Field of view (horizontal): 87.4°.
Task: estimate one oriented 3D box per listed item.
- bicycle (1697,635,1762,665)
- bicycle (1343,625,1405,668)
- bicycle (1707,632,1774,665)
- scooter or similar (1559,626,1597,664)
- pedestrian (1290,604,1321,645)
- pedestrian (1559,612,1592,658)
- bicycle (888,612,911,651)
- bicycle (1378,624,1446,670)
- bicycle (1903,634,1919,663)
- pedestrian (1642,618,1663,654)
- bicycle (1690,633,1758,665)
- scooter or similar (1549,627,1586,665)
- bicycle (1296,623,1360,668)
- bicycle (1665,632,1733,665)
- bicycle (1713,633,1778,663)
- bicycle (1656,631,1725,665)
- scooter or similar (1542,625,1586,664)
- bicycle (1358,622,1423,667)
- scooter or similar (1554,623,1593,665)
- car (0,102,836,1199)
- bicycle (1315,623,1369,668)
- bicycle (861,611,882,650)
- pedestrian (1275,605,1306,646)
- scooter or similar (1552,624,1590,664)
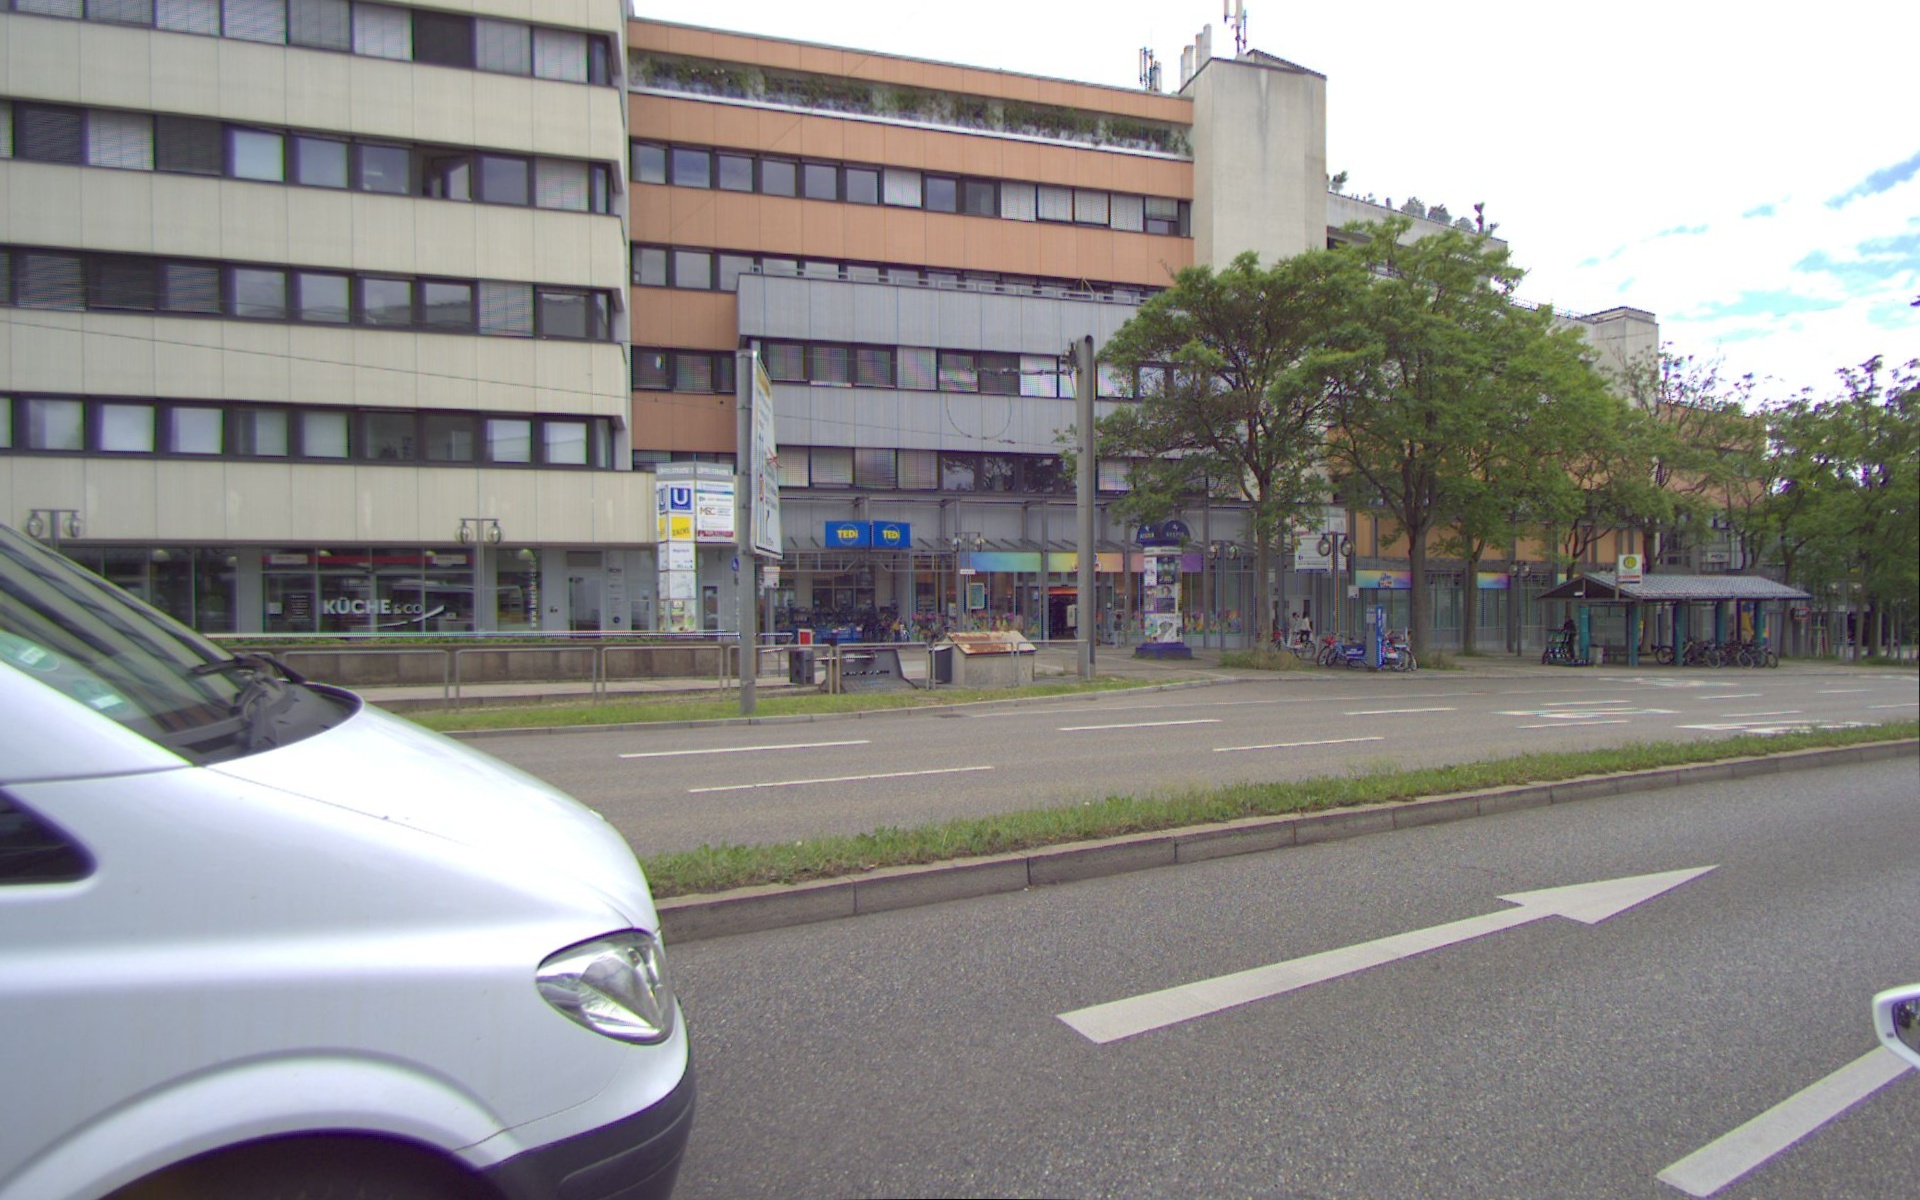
[{"bbox_3d":[31.832,2.060,41.578,0.705,1.169,2.049,1,-1,-38],"label":"bicycle"},{"bbox_3d":[12.636,1.402,30.710,1.649,1.270,0.627,1,-1,10],"label":"bicycle"},{"bbox_3d":[32.666,2.020,42.083,0.705,1.169,2.048,1,2,-38],"label":"bicycle"},{"bbox_3d":[22.212,1.611,36.122,0.256,1.338,1.196,1,-1,-30],"label":"scooter or similar"},{"bbox_3d":[13.953,1.000,40.580,0.984,1.639,0.730,1,-1,-27],"label":"pedestrian"},{"bbox_3d":[24.350,1.371,39.747,0.984,1.805,0.730,1,-1,-27],"label":"pedestrian"},{"bbox_3d":[-2.169,1.117,35.710,0.692,1.337,1.972,1,-1,-7],"label":"bicycle"},{"bbox_3d":[12.911,1.344,28.712,1.649,1.270,0.627,1,-1,10],"label":"bicycle"},{"bbox_3d":[43.810,2.195,45.327,2.394,1.288,1.048,1,1,-27],"label":"bicycle"},{"bbox_3d":[32.825,1.705,47.602,0.665,1.665,0.531,1,-1,-22],"label":"pedestrian"},{"bbox_3d":[30.824,1.968,40.558,0.705,1.169,2.049,1,0,-38],"label":"bicycle"},{"bbox_3d":[21.543,1.607,35.614,0.265,1.312,1.122,1,-1,-30],"label":"scooter or similar"},{"bbox_3d":[10.654,1.309,29.111,1.649,1.270,0.627,0,-1,11],"label":"bicycle"},{"bbox_3d":[29.749,1.929,40.466,0.705,1.169,2.049,1,1,-38],"label":"bicycle"},{"bbox_3d":[33.444,2.036,42.797,0.705,1.169,2.049,1,0,-38],"label":"bicycle"},{"bbox_3d":[28.864,1.865,39.734,0.705,1.169,2.048,1,2,-38],"label":"bicycle"},{"bbox_3d":[21.264,1.558,35.385,0.335,1.286,1.315,1,1,-30],"label":"scooter or similar"},{"bbox_3d":[12.701,1.310,29.693,1.649,1.270,0.627,1,-1,10],"label":"bicycle"},{"bbox_3d":[21.957,1.570,35.974,0.256,1.442,1.196,1,-1,-30],"label":"scooter or similar"},{"bbox_3d":[-2.837,0.406,1.214,5.019,2.041,1.863,0,2,-32],"label":"car"},{"bbox_3d":[11.315,1.341,29.759,1.441,1.270,0.432,0,-1,12],"label":"bicycle"},{"bbox_3d":[-3.166,1.079,35.858,0.692,1.337,1.972,1,-1,-7],"label":"bicycle"},{"bbox_3d":[13.627,1.046,41.362,0.984,1.639,0.730,1,-1,-27],"label":"pedestrian"},{"bbox_3d":[21.755,1.552,35.790,0.219,1.403,1.196,1,-1,-30],"label":"scooter or similar"}]
